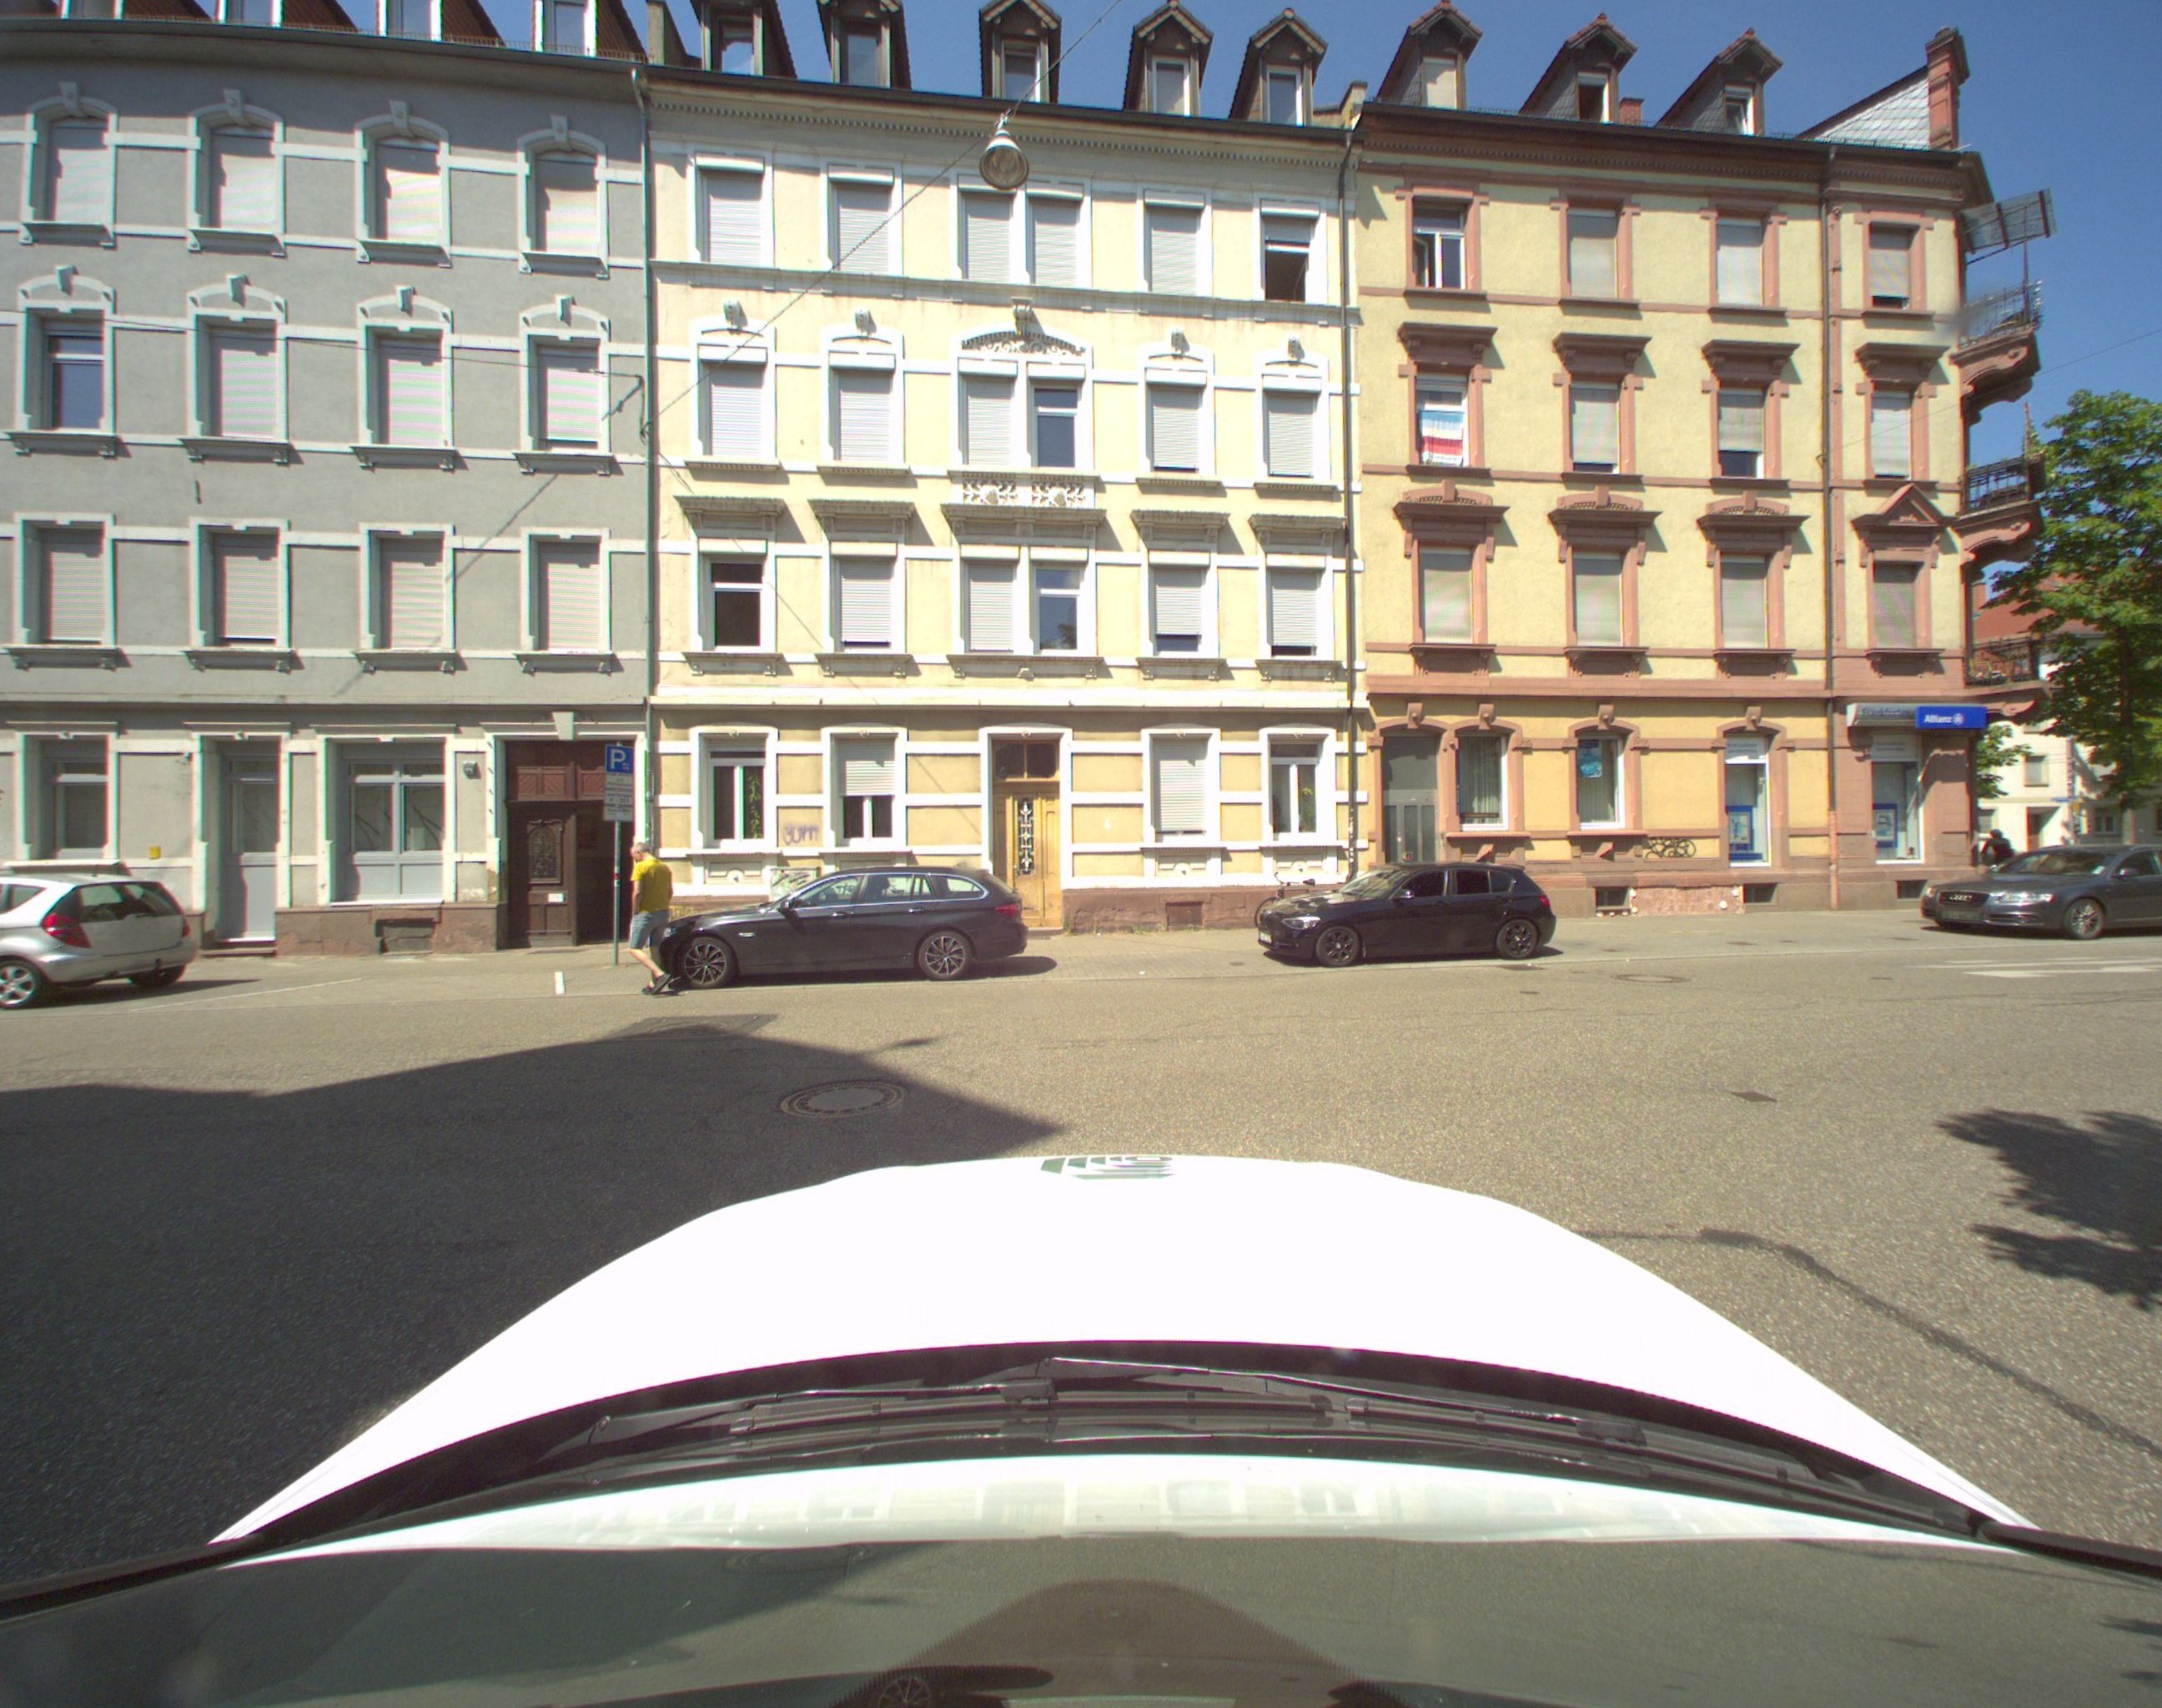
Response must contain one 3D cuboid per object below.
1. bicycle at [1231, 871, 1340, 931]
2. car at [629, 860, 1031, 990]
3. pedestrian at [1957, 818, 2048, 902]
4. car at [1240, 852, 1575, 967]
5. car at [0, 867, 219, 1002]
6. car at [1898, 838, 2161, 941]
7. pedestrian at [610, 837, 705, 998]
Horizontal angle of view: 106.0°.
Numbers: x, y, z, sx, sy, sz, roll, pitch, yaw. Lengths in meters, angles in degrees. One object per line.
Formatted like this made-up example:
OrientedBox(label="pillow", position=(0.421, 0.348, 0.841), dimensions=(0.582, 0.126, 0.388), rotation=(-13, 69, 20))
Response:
OrientedBox(label="bicycle", position=(3.901, 0.887, 15.575), dimensions=(2.003, 1.021, 0.423), rotation=(-2, 2, -8))
OrientedBox(label="car", position=(-3.160, 0.877, 11.156), dimensions=(4.852, 1.437, 1.996), rotation=(-2, -1, -6))
OrientedBox(label="pedestrian", position=(23.018, 0.162, 20.386), dimensions=(1.040, 2.014, 1.237), rotation=(-2, -1, 24))
OrientedBox(label="car", position=(4.715, 0.746, 12.099), dimensions=(4.288, 1.370, 1.804), rotation=(-2, 2, -6))
OrientedBox(label="car", position=(-14.049, 1.007, 10.311), dimensions=(4.042, 1.562, 1.803), rotation=(-2, -1, -7))
OrientedBox(label="car", position=(16.457, 0.518, 13.457), dimensions=(4.416, 1.455, 1.803), rotation=(-2, 0, -6))
OrientedBox(label="pedestrian", position=(-5.101, 0.746, 9.844), dimensions=(0.721, 1.853, 0.686), rotation=(-2, -1, 6))
